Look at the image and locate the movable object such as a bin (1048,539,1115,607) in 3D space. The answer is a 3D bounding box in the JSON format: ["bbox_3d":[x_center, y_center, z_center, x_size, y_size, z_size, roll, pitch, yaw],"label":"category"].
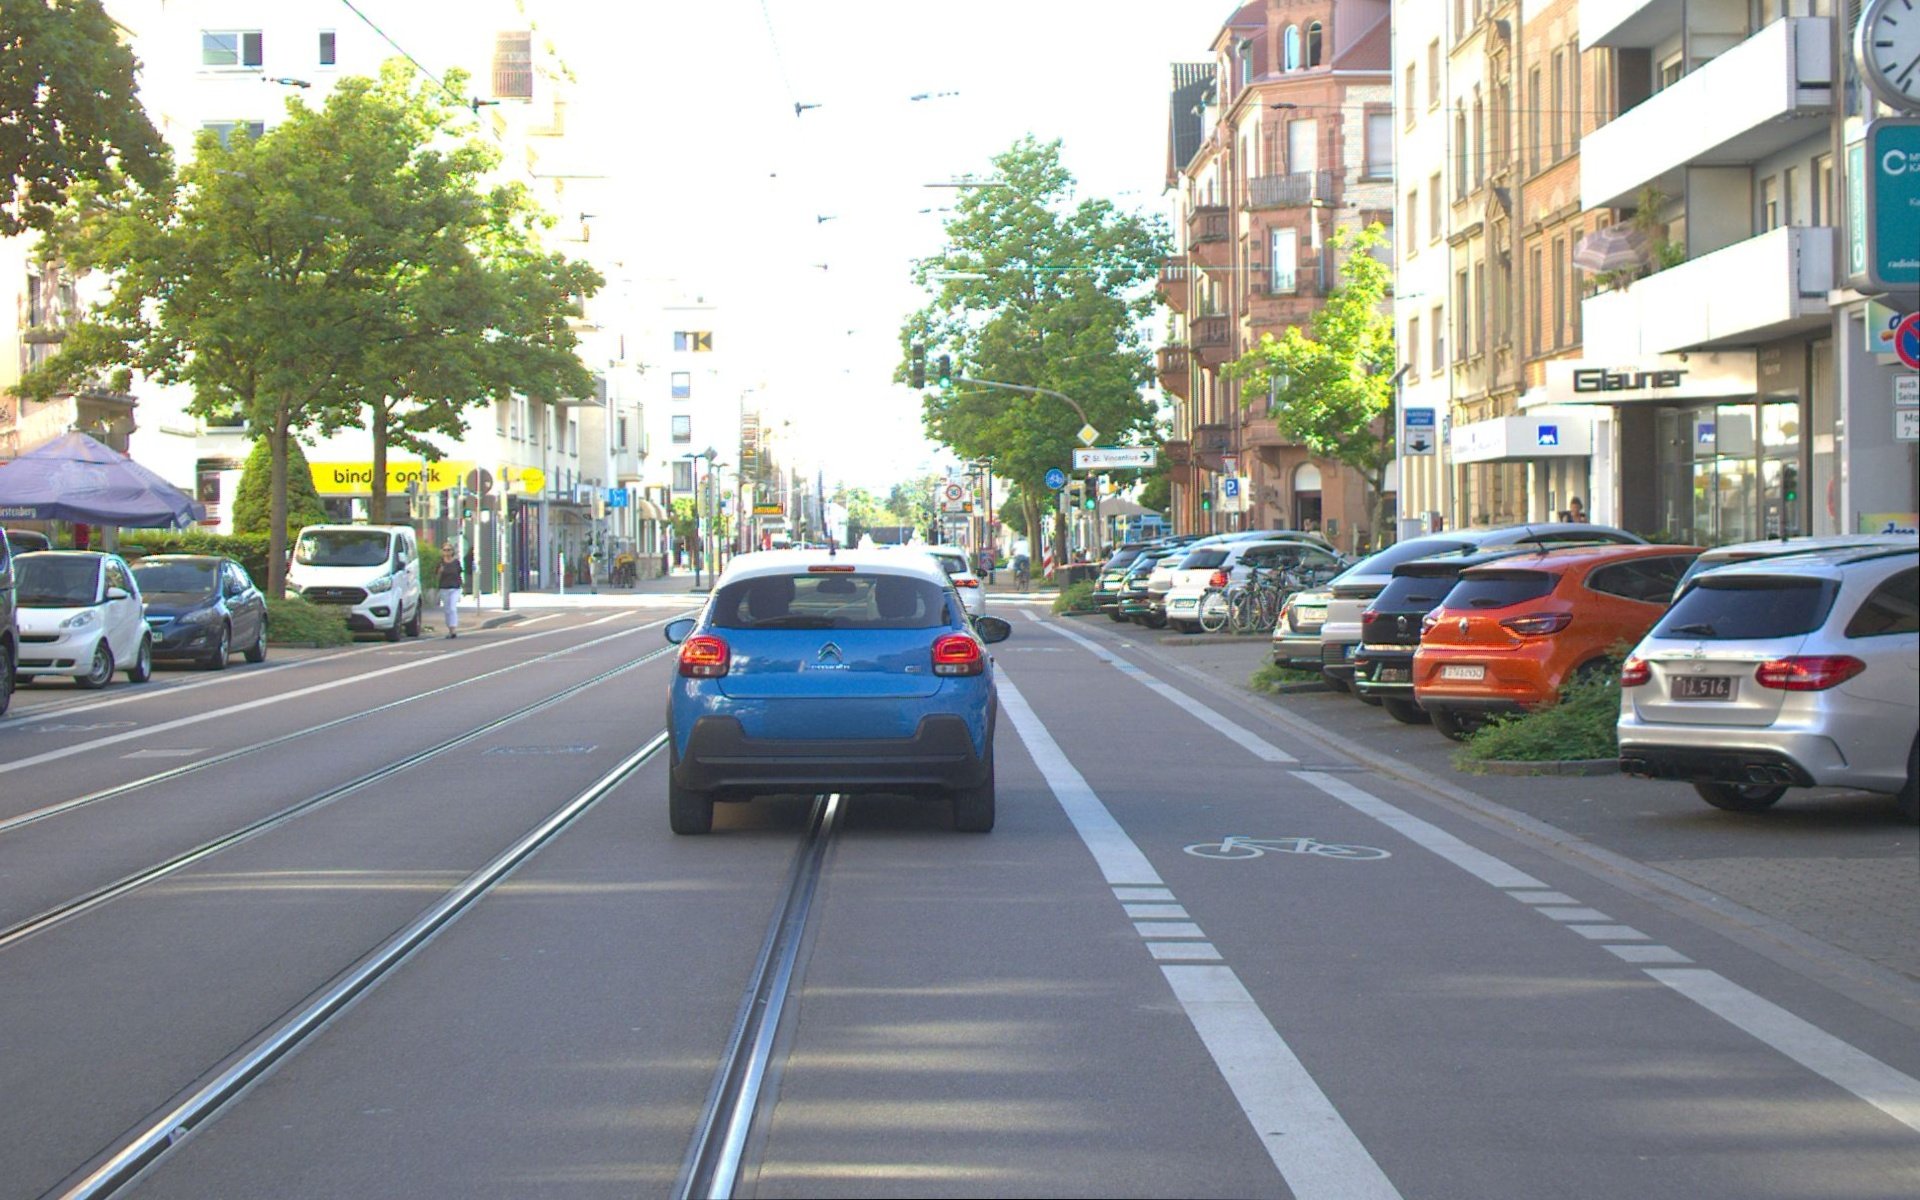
[{"bbox_3d":[2.675,-0.593,76.007,1.394,1.478,1.655,0,1,-1],"label":"movable object such as a bin"}]

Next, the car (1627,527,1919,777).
[{"bbox_3d":[6.355,0.292,22.062,3.774,1.482,1.838,0,1,-30],"label":"car"}]

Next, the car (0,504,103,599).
[{"bbox_3d":[-14.946,-0.775,54.989,1.634,1.464,3.527,0,1,0],"label":"car"}]

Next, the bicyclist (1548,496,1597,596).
[{"bbox_3d":[9.903,-0.874,55.598,0.732,1.617,0.528,0,1,5],"label":"bicyclist"}]

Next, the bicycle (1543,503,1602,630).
[{"bbox_3d":[9.887,-0.541,55.552,0.728,2.007,2.358,0,1,5],"label":"bicycle"}]

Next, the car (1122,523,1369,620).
[{"bbox_3d":[4.746,-0.469,57.257,3.653,1.568,1.861,0,1,-20],"label":"car"}]

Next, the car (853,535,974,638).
[{"bbox_3d":[-0.733,-0.233,55.269,1.873,1.590,4.000,0,1,0],"label":"car"}]

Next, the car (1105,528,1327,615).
[{"bbox_3d":[4.729,-0.524,63.586,3.653,1.568,1.861,0,1,-20],"label":"car"}]

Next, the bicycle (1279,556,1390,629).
[{"bbox_3d":[5.516,-0.118,50.748,0.553,1.044,1.807,0,1,-36],"label":"bicycle"}]

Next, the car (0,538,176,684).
[{"bbox_3d":[-10.448,0.093,40.373,1.747,1.612,4.411,0,1,-4],"label":"car"}]

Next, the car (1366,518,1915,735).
[{"bbox_3d":[5.124,0.168,25.801,3.718,1.515,1.968,0,1,-33],"label":"car"}]

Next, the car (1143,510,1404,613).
[{"bbox_3d":[4.932,-0.597,54.075,3.653,1.568,1.861,0,1,-29],"label":"car"}]

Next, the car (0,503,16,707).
[{"bbox_3d":[-9.985,0.072,31.136,1.747,1.967,5.241,0,1,-4],"label":"car"}]

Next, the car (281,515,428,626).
[{"bbox_3d":[-10.422,-0.521,59.442,1.831,1.841,4.214,0,1,-1],"label":"car"}]

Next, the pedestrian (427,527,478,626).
[{"bbox_3d":[-8.859,-0.413,59.984,0.729,1.720,0.628,0,1,-24],"label":"pedestrian"}]

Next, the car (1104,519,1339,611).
[{"bbox_3d":[4.564,-0.606,60.174,3.653,1.568,1.861,0,1,-20],"label":"car"}]

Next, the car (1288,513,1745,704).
[{"bbox_3d":[5.112,0.055,31.534,3.718,1.646,2.048,0,1,-33],"label":"car"}]

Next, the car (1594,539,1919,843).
[{"bbox_3d":[5.697,0.439,18.793,4.439,1.503,1.536,0,1,-30],"label":"car"}]

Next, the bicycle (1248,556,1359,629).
[{"bbox_3d":[5.017,-0.111,50.367,0.553,1.044,1.807,0,1,-36],"label":"bicycle"}]

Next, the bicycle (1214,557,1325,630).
[{"bbox_3d":[4.493,-0.106,50.009,0.553,1.044,1.807,0,1,-36],"label":"bicycle"}]

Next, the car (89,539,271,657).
[{"bbox_3d":[-10.326,-0.050,45.735,1.747,1.481,4.043,0,1,-4],"label":"car"}]

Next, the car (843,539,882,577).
[{"bbox_3d":[-3.761,-1.610,132.517,1.423,1.427,3.139,0,1,0],"label":"car"}]

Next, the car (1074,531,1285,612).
[{"bbox_3d":[4.251,-0.545,66.710,3.653,1.529,1.789,0,1,-20],"label":"car"}]

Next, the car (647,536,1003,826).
[{"bbox_3d":[-0.704,0.381,18.902,1.762,1.436,3.557,0,1,-1],"label":"car"}]

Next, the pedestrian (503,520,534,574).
[{"bbox_3d":[-14.295,-1.723,111.312,0.944,1.745,0.700,0,1,-5],"label":"pedestrian"}]

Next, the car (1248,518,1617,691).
[{"bbox_3d":[4.722,0.028,34.209,3.442,1.634,1.684,0,1,-37],"label":"car"}]

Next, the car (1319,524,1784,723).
[{"bbox_3d":[4.900,0.166,28.433,3.441,1.550,1.824,0,1,-32],"label":"car"}]
